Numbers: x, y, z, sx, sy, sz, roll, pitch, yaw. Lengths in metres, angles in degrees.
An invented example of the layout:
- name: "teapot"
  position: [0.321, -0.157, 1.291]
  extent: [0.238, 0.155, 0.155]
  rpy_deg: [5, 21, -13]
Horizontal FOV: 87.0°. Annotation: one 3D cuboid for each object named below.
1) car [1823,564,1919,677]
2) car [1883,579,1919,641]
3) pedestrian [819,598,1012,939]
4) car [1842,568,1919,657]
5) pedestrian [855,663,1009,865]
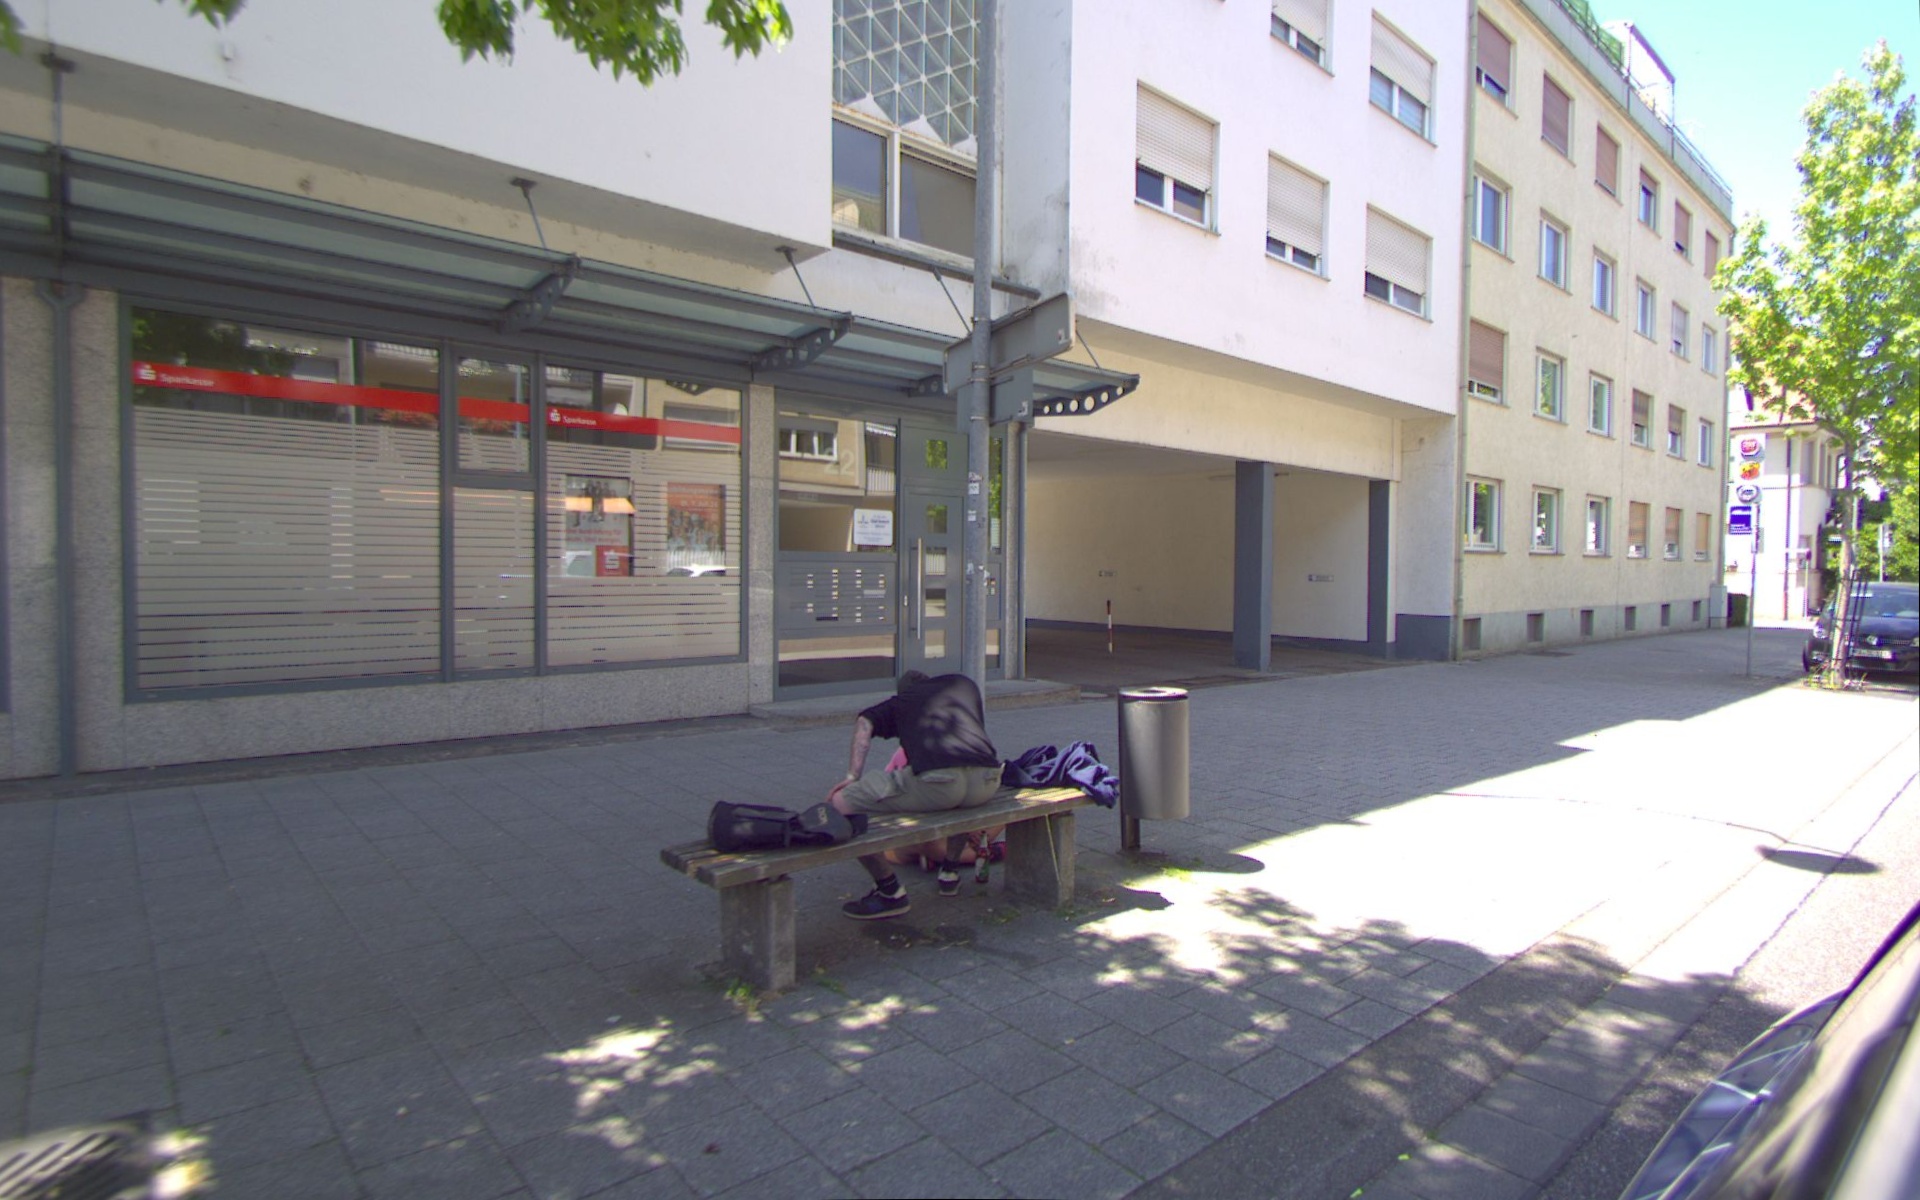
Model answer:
- name: "car"
  position: [16.473, 0.311, 17.696]
  extent: [3.935, 1.742, 1.690]
  rpy_deg: [-1, 5, -45]
- name: "car"
  position: [24.999, 0.235, 25.799]
  extent: [4.062, 1.506, 1.692]
  rpy_deg: [-1, 2, -41]
- name: "pedestrian"
  position: [-0.211, 0.635, 4.259]
  extent: [0.527, 1.255, 0.764]
  rpy_deg: [0, 2, -27]
- name: "car"
  position: [20.190, 0.227, 21.598]
  extent: [4.066, 1.743, 1.690]
  rpy_deg: [-1, 2, -44]
- name: "pedestrian"
  position: [-0.158, 0.793, 5.145]
  extent: [0.527, 0.862, 0.681]
  rpy_deg: [0, 2, -27]
